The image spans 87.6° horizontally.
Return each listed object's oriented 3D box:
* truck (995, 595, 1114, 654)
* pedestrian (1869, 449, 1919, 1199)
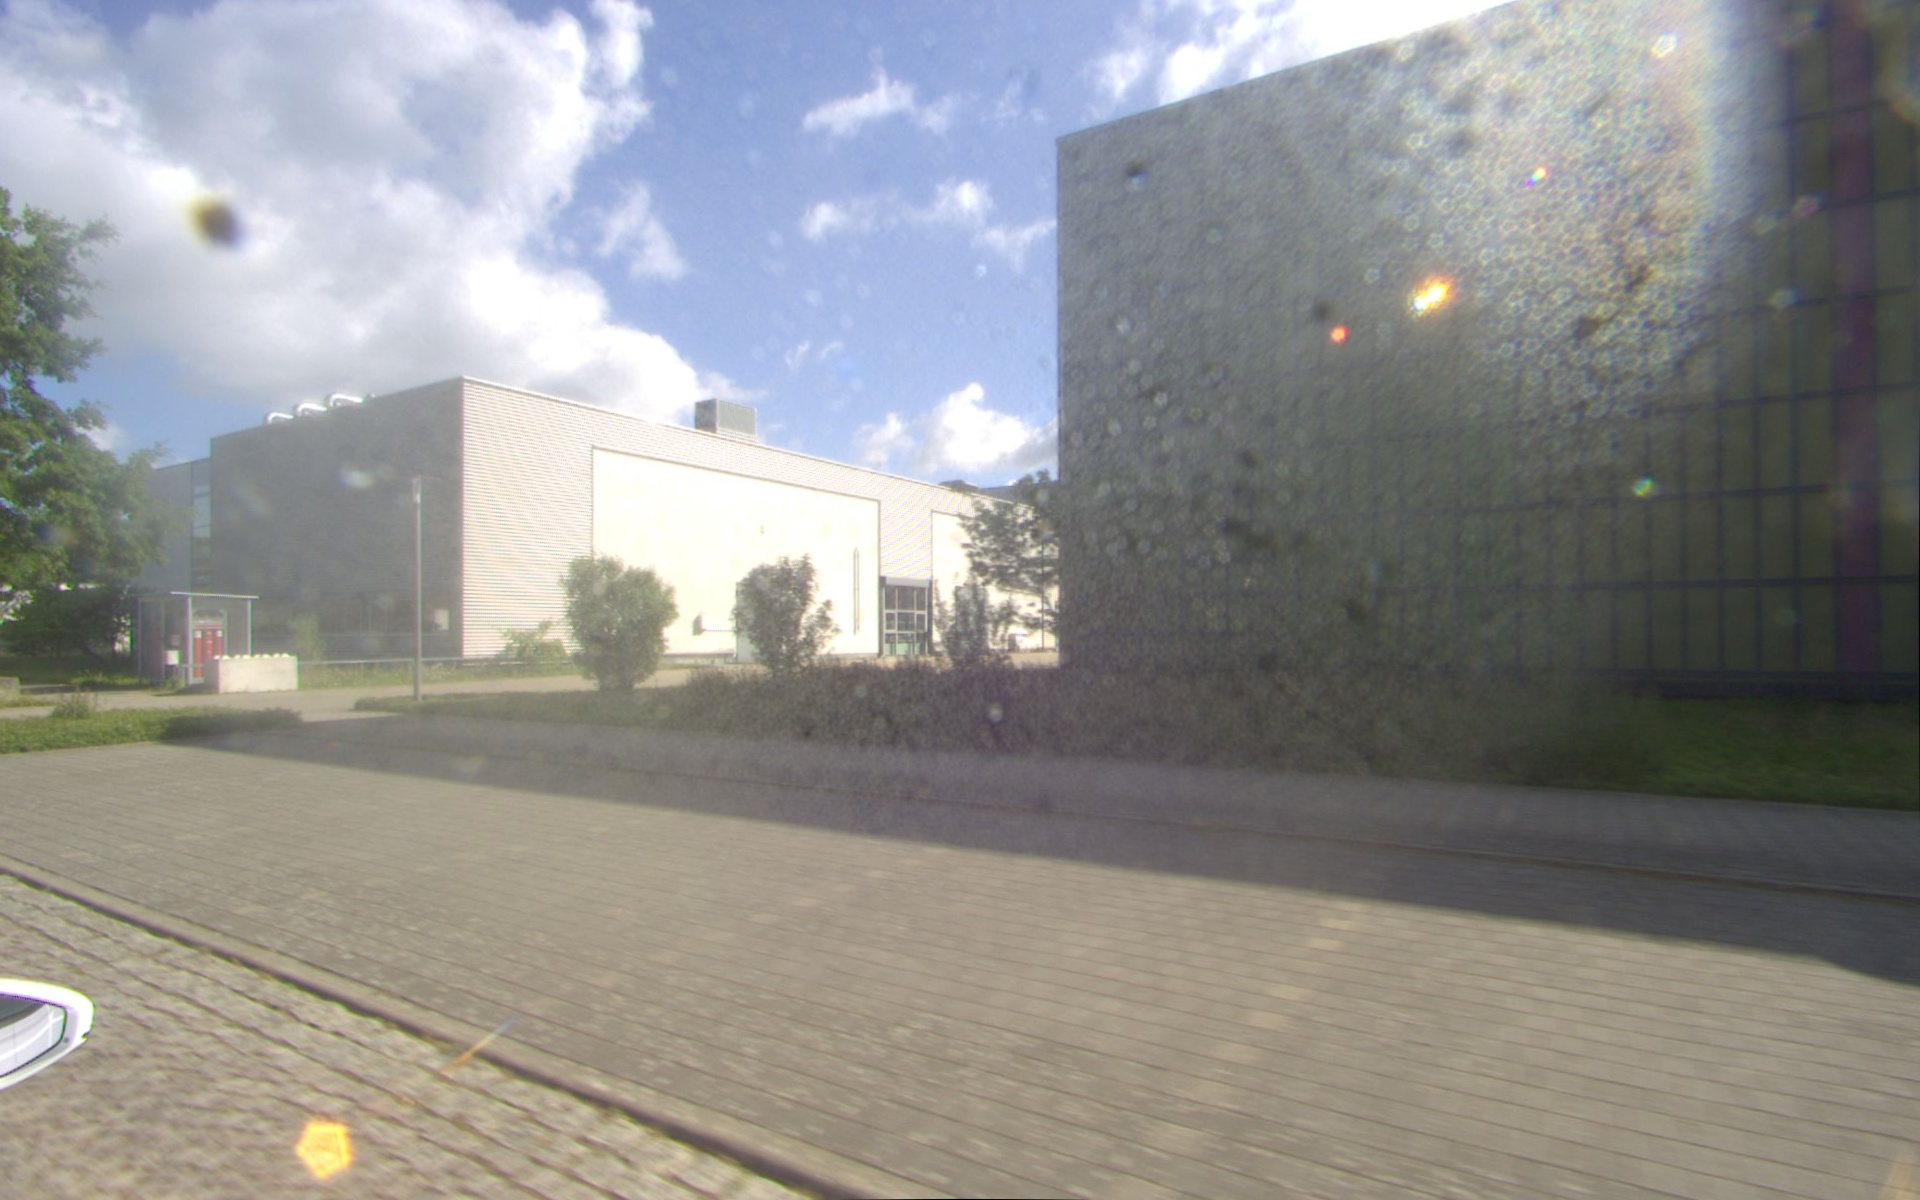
[{"bbox_3d":[6.504,1.752,69.610,7.991,3.866,2.636,-1,-2,33],"label":"truck"},{"bbox_3d":[2.246,0.608,1.579,1.053,1.804,0.793,-1,0,31],"label":"pedestrian"}]
